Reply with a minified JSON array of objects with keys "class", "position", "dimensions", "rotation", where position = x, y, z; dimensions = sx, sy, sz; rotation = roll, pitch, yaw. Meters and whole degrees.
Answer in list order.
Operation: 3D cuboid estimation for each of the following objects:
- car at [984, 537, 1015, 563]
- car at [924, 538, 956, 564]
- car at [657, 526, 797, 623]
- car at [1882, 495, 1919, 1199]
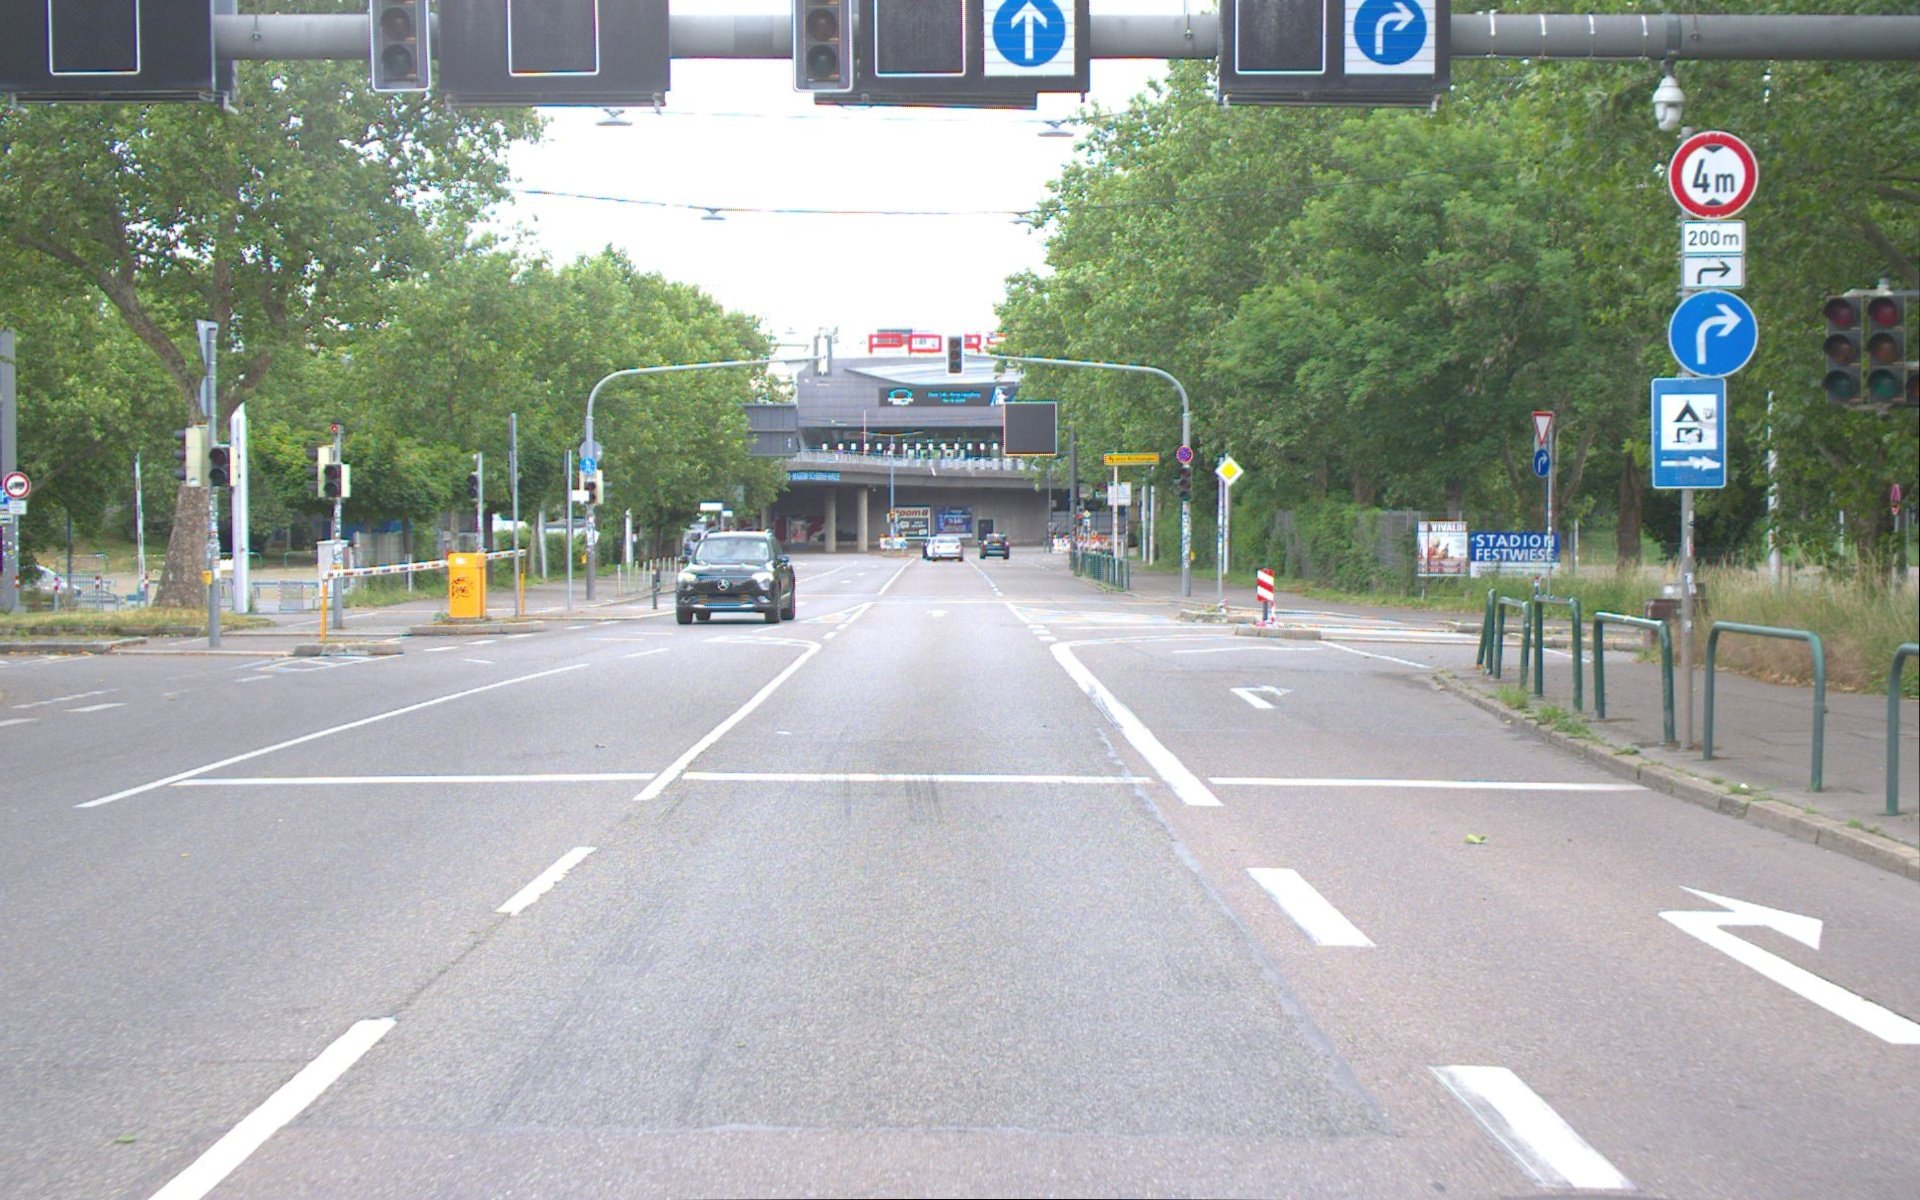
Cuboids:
[{"class":"car","position":[2.615,-3.321,228.635],"dimensions":[2.007,1.693,4.069],"rotation":[1,1,1]},{"class":"car","position":[-1.199,-2.910,204.890],"dimensions":[1.778,1.455,3.822],"rotation":[2,1,1]},{"class":"car","position":[-4.197,-0.476,62.517],"dimensions":[1.994,1.654,4.517],"rotation":[-1,1,3]},{"class":"car","position":[2.968,0.644,5.601],"dimensions":[1.826,1.610,4.034],"rotation":[1,2,0]}]
